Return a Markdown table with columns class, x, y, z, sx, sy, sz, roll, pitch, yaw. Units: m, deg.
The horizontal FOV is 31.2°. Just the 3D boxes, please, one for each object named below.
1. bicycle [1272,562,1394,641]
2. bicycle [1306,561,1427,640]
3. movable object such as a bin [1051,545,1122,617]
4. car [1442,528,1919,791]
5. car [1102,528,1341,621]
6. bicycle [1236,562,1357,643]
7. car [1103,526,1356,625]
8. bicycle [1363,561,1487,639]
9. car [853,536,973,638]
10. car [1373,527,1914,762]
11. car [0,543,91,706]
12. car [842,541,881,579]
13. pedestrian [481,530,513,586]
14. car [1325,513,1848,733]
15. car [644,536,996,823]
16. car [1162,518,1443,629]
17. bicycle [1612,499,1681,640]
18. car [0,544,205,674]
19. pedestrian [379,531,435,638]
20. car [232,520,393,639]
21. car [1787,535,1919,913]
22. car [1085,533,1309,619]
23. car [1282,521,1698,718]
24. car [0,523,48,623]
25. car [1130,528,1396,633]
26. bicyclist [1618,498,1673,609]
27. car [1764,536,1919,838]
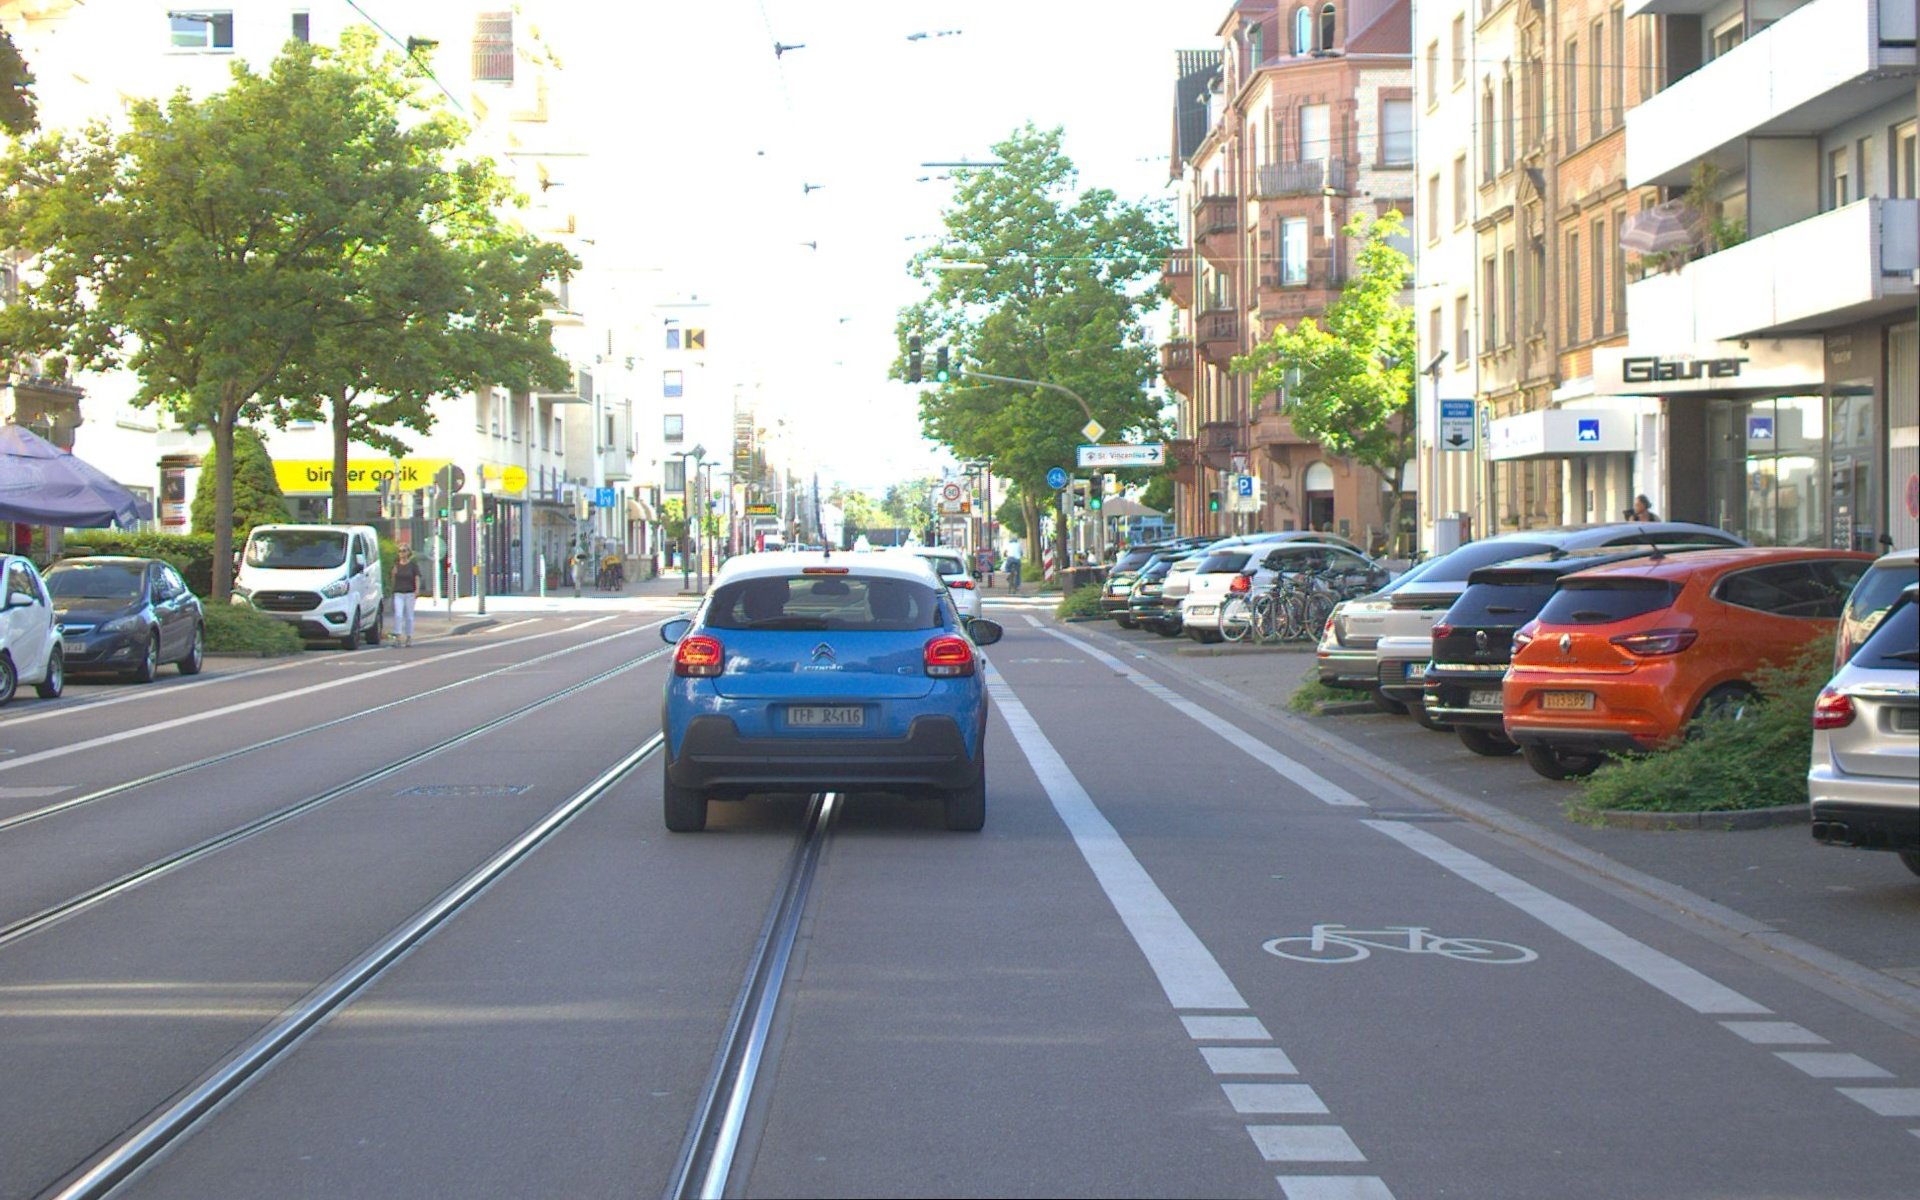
| class | x | y | z | sx | sy | sz | roll | pitch | yaw |
| --- | --- | --- | --- | --- | --- | --- | --- | --- | --- |
| bicycle | 5.013 | 0.012 | 46.322 | 0.553 | 1.044 | 1.807 | 0 | 1 | -36 |
| bicycle | 5.511 | 0.003 | 46.703 | 0.553 | 1.044 | 1.807 | 0 | 1 | -36 |
| movable object such as a bin | 2.640 | -0.412 | 71.959 | 1.394 | 1.478 | 1.655 | 0 | 1 | -1 |
| car | 5.109 | 0.331 | 21.666 | 3.718 | 1.515 | 1.968 | 0 | 1 | -33 |
| car | 4.502 | -0.434 | 59.349 | 3.653 | 1.568 | 1.861 | 0 | 1 | -20 |
| bicycle | 4.489 | 0.025 | 45.963 | 0.553 | 1.044 | 1.807 | 0 | 1 | -36 |
| car | 4.389 | -0.403 | 56.073 | 3.653 | 1.568 | 1.861 | 0 | 1 | -20 |
| bicycle | 6.411 | -0.006 | 47.457 | 0.553 | 1.044 | 1.807 | 0 | 1 | -39 |
| car | -0.748 | -0.227 | 56.047 | 1.873 | 1.590 | 4.000 | 0 | 1 | 0 |
| car | 4.857 | 0.283 | 24.388 | 3.441 | 1.550 | 1.824 | 0 | 1 | -32 |
| car | -10.428 | 0.213 | 36.122 | 1.747 | 1.612 | 4.411 | 0 | 1 | -4 |
| car | -3.815 | -1.545 | 133.144 | 1.423 | 1.427 | 3.139 | 0 | 1 | 0 |
| pedestrian | -14.436 | -1.316 | 107.242 | 0.944 | 1.745 | 0.700 | 0 | 0 | -5 |
| car | 5.026 | 0.157 | 27.519 | 3.718 | 1.646 | 2.048 | 0 | 1 | -33 |
| car | -0.738 | 0.380 | 19.067 | 1.762 | 1.436 | 3.557 | 0 | 1 | -1 |
| car | 4.986 | -0.382 | 50.081 | 3.653 | 1.568 | 1.861 | 0 | 1 | -29 |
| bicycle | 10.028 | -0.445 | 50.279 | 0.728 | 2.007 | 2.358 | 0 | 1 | 5 |
| car | -10.288 | 0.077 | 41.372 | 1.747 | 1.481 | 4.043 | 0 | 1 | -4 |
| pedestrian | -8.889 | -0.252 | 55.263 | 0.729 | 1.720 | 0.628 | 0 | 1 | -25 |
| car | -10.400 | -0.342 | 55.456 | 1.831 | 1.841 | 4.214 | 0 | 1 | -1 |
| car | 5.758 | 0.495 | 14.764 | 4.439 | 1.503 | 1.536 | 0 | 1 | -30 |
| car | 4.312 | -0.430 | 62.695 | 3.653 | 1.529 | 1.789 | 0 | 1 | -20 |
| car | 4.678 | 0.151 | 30.227 | 3.442 | 1.634 | 1.684 | 0 | 1 | -37 |
| car | -14.839 | -0.408 | 51.144 | 1.634 | 1.464 | 3.527 | 0 | 1 | -1 |
| car | 4.673 | -0.301 | 53.159 | 3.653 | 1.568 | 1.861 | 0 | 1 | -20 |
| bicyclist | 10.030 | -0.680 | 50.309 | 0.732 | 1.617 | 0.528 | 0 | 0 | 5 |
| car | 6.270 | 0.427 | 17.984 | 3.774 | 1.482 | 1.838 | 0 | 1 | -30 |
